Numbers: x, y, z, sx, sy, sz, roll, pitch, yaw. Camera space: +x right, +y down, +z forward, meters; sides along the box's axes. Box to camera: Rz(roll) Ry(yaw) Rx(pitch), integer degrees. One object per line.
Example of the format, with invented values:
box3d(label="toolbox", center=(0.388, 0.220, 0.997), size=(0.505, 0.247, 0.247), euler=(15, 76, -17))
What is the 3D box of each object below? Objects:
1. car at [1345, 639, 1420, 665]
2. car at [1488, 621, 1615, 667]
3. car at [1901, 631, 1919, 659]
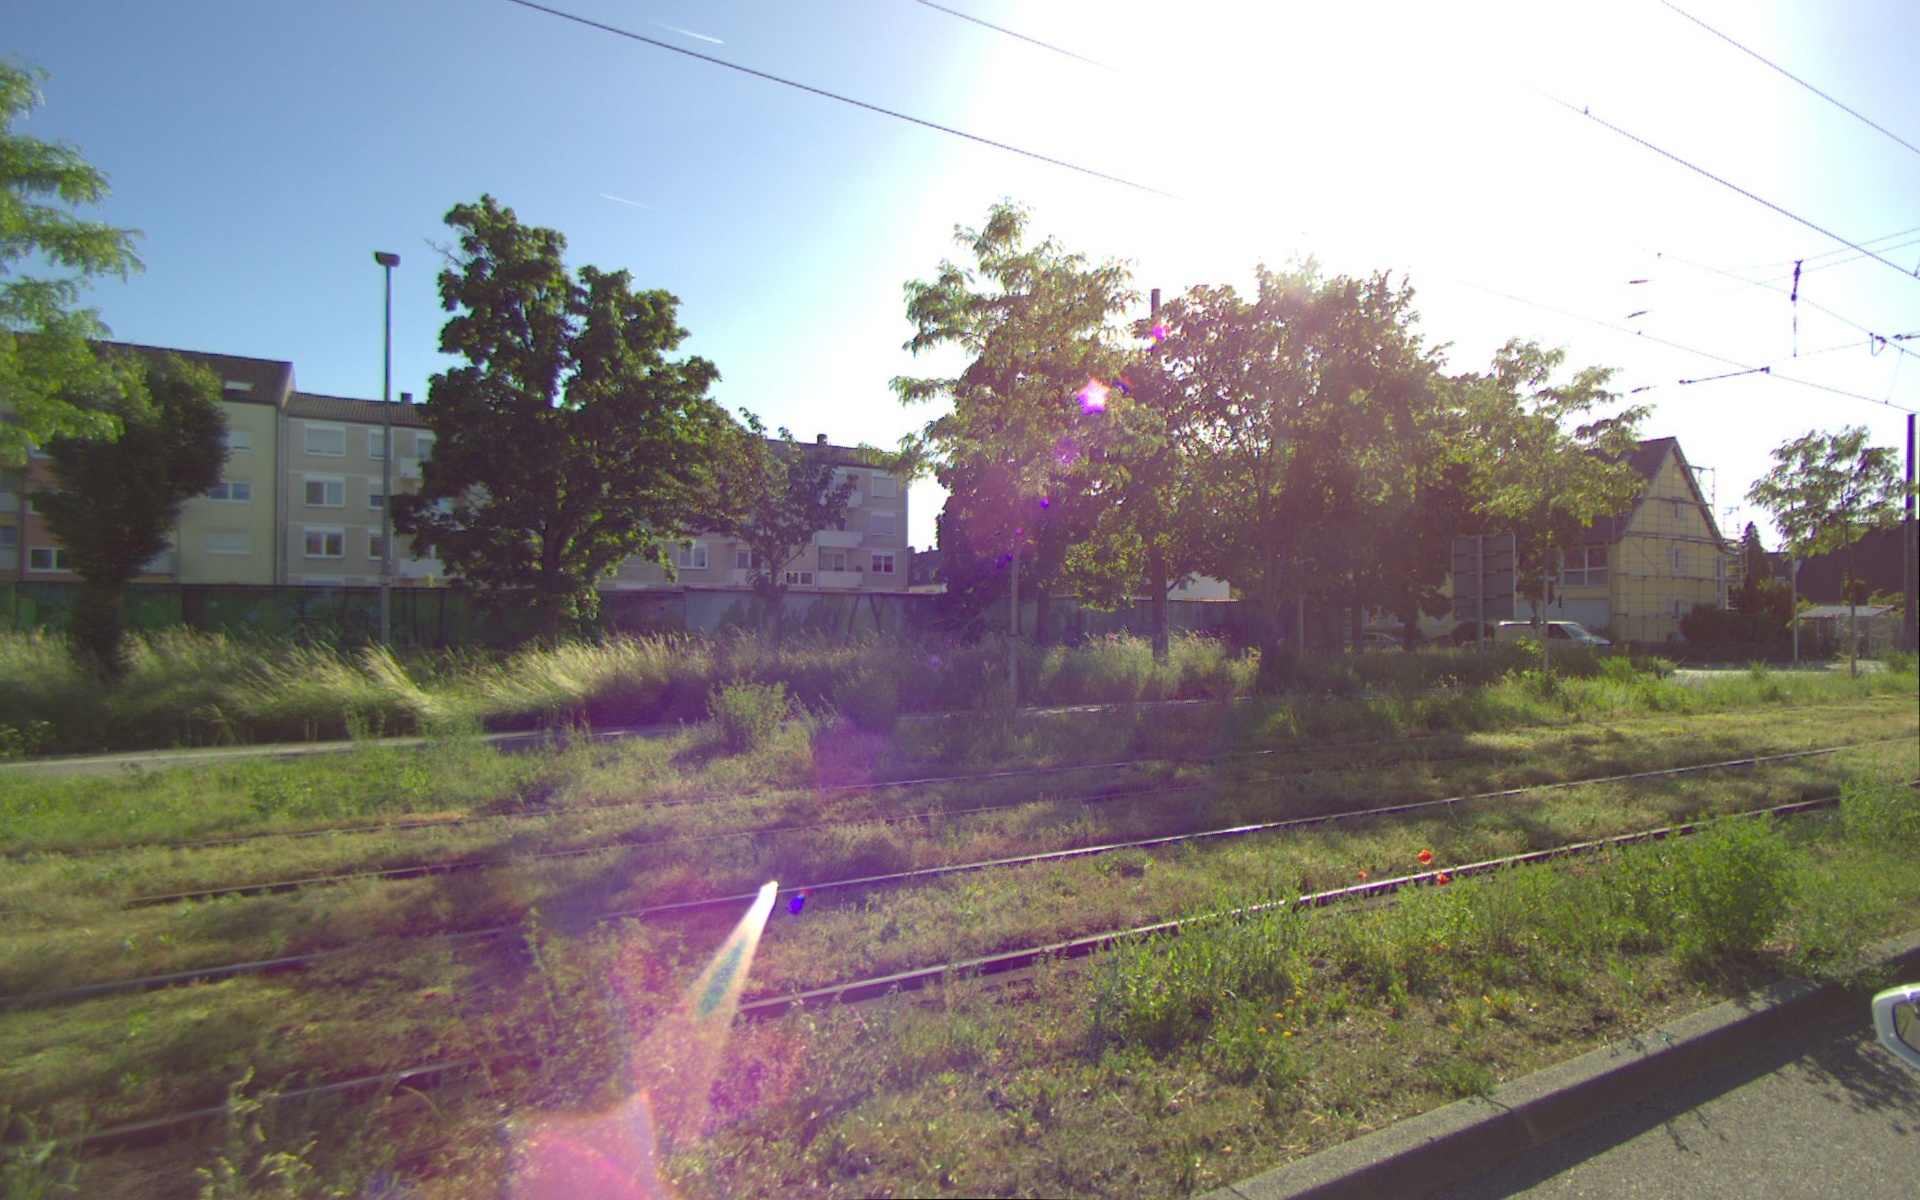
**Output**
box3d(label="car", center=(23.822, 2.921, 56.775), size=(1.542, 1.363, 3.713), euler=(1, -3, -30))
box3d(label="car", center=(26.773, 1.984, 45.636), size=(1.879, 1.940, 4.670), euler=(1, -2, -27))
box3d(label="car", center=(61.329, 2.769, 61.994), size=(2.036, 1.757, 4.502), euler=(1, -3, -40))
